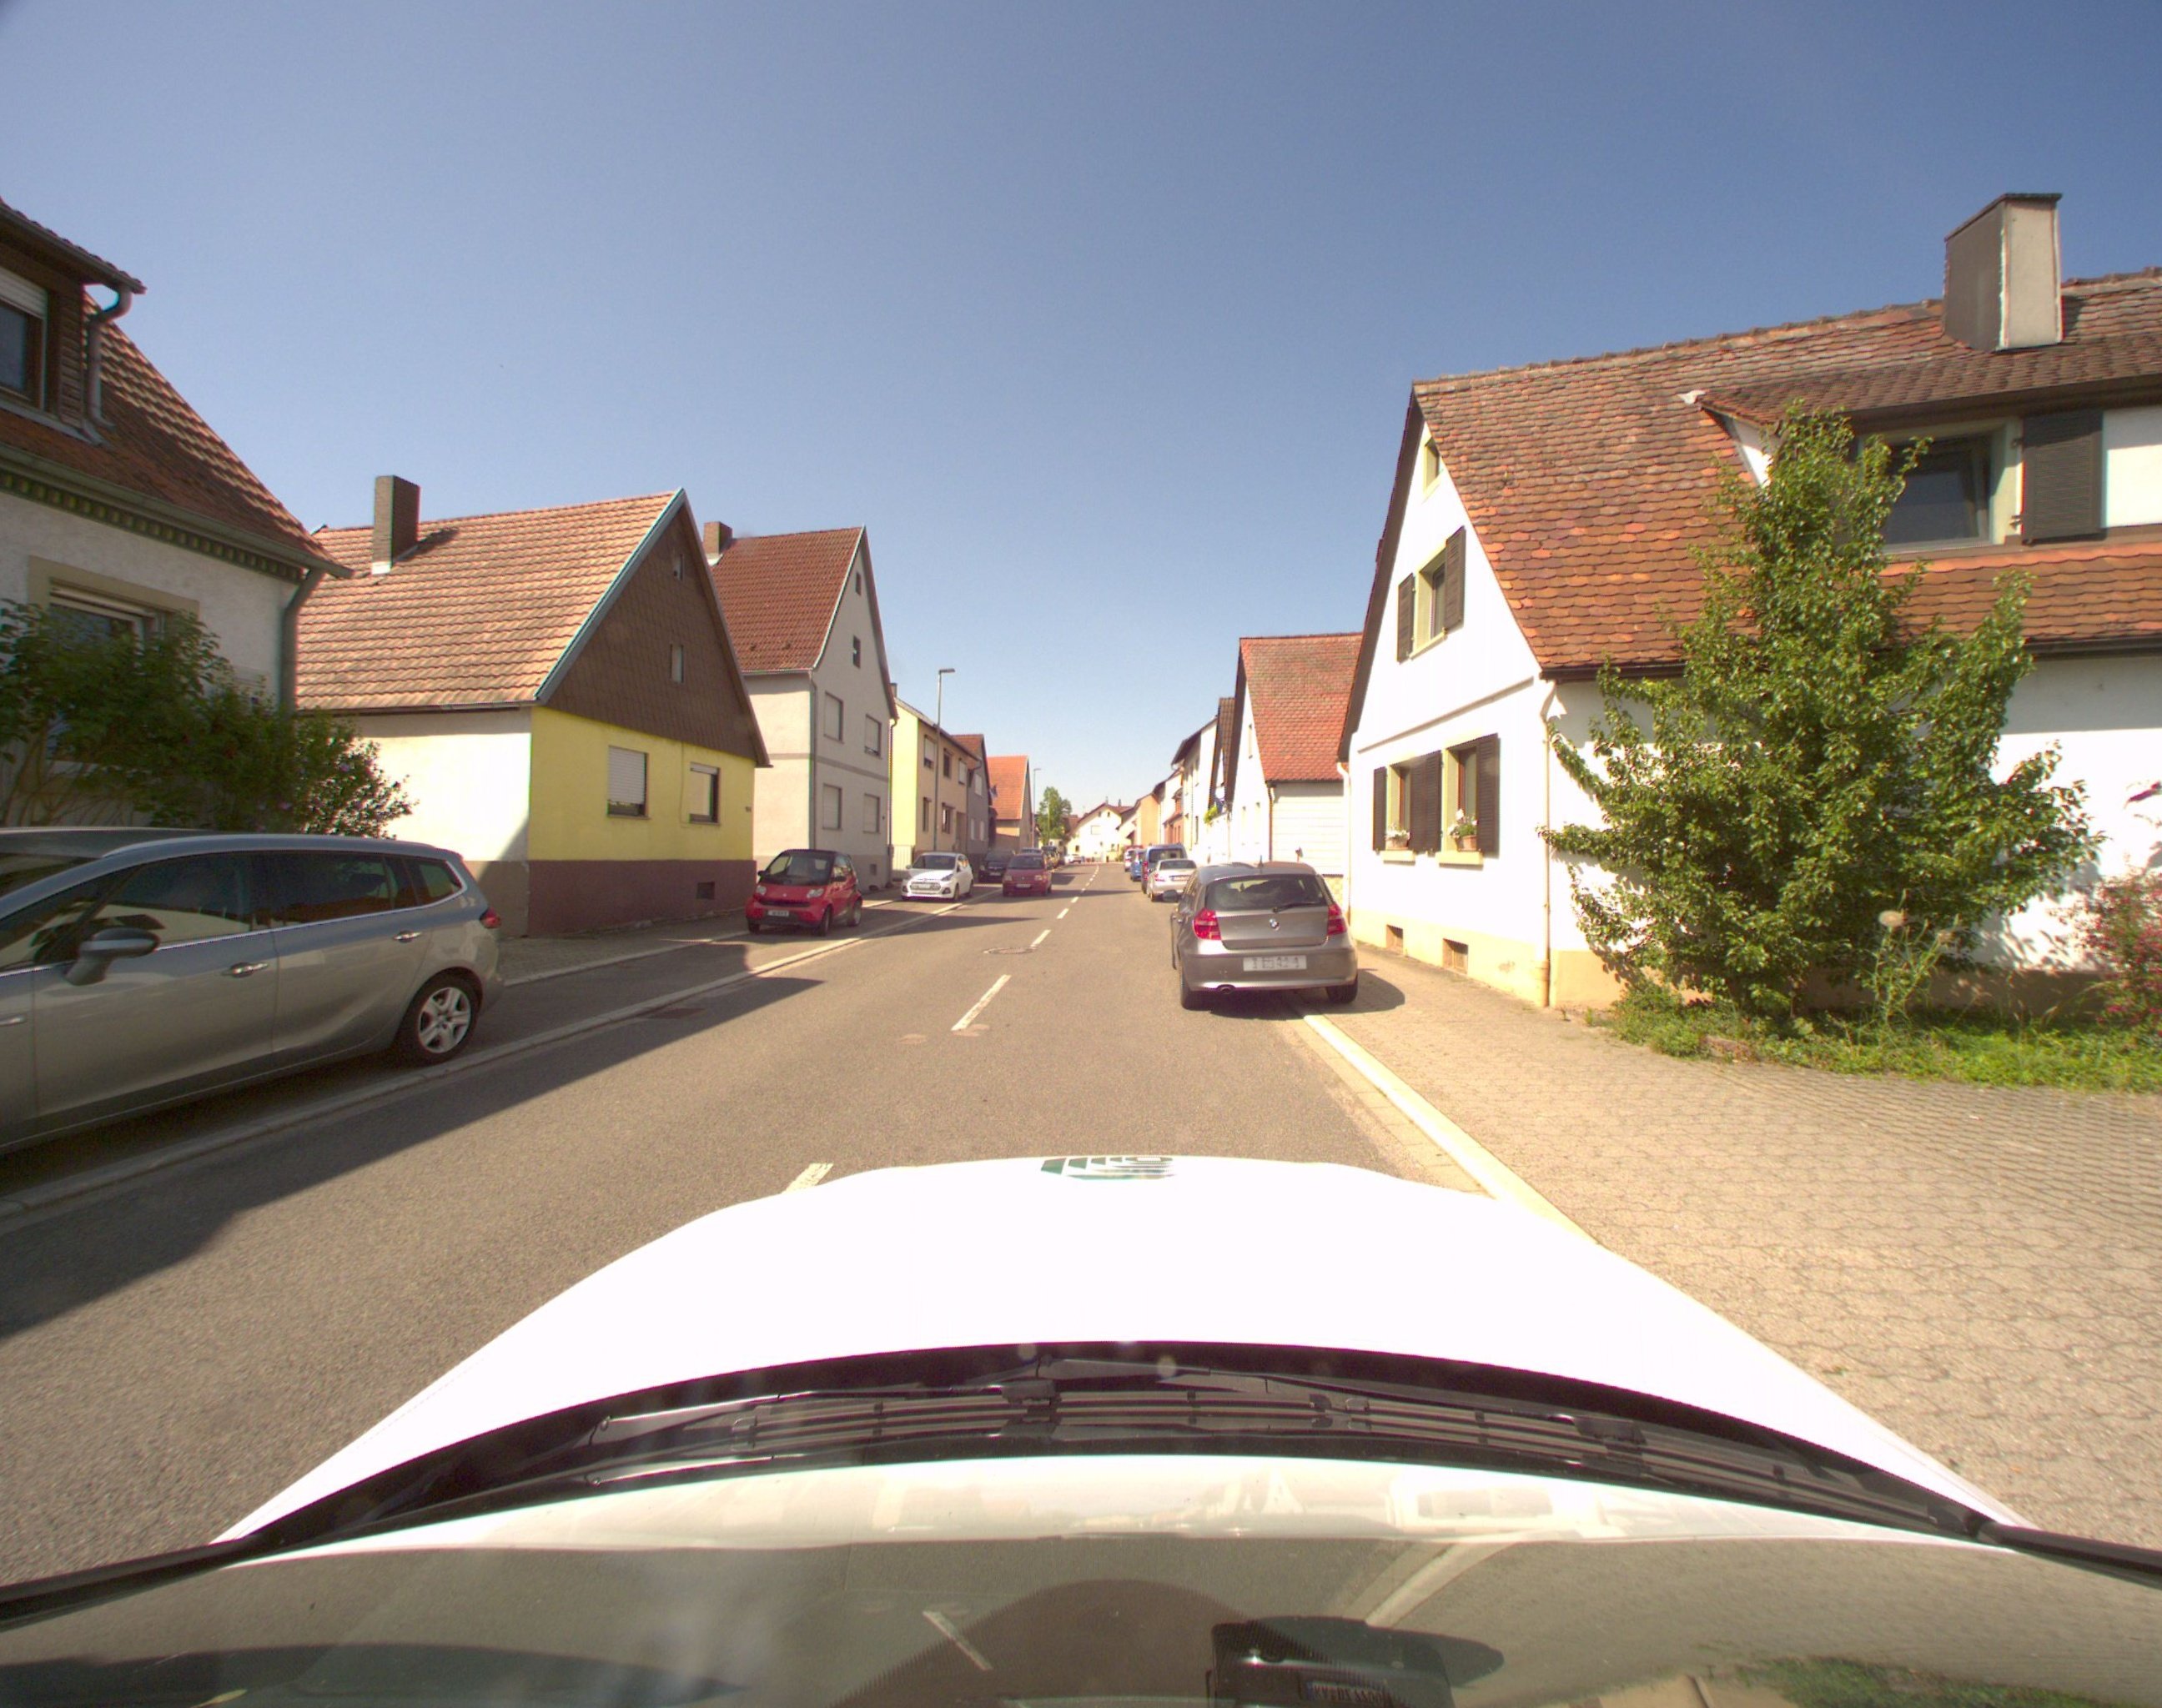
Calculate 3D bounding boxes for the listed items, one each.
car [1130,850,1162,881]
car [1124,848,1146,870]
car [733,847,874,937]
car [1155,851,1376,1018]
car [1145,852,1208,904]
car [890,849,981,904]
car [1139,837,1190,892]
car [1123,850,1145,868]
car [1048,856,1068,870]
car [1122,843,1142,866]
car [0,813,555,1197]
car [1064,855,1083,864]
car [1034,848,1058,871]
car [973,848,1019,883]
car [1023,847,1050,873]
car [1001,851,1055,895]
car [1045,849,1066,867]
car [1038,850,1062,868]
[{"bbox_3d":[3.305,0.582,41.786,1.415,1.515,3.305,1,0,2],"label":"car"},{"bbox_3d":[3.918,0.387,59.367,1.415,1.515,3.305,1,0,2],"label":"car"},{"bbox_3d":[-5.289,0.678,15.894,1.546,1.544,2.990,1,0,3],"label":"car"},{"bbox_3d":[1.811,0.720,9.174,1.698,1.433,3.891,-2,0,2],"label":"car"},{"bbox_3d":[2.964,0.722,25.867,1.698,1.496,3.454,1,0,2],"label":"car"},{"bbox_3d":[-4.510,0.668,25.922,1.798,1.548,4.408,1,0,3],"label":"car"},{"bbox_3d":[3.093,0.384,30.739,1.643,1.910,3.627,1,0,2],"label":"car"},{"bbox_3d":[4.353,0.413,67.175,1.759,1.433,3.452,0,-1,3],"label":"car"},{"bbox_3d":[-2.428,0.952,85.696,1.746,1.442,4.003,0,-1,3],"label":"car"},{"bbox_3d":[4.538,0.044,72.555,1.759,2.004,3.452,0,-1,3],"label":"car"},{"bbox_3d":[-5.455,0.627,4.412,1.864,1.636,4.669,1,0,4],"label":"car"},{"bbox_3d":[-1.166,0.852,123.018,1.997,1.288,3.979,0,-1,-15],"label":"car"},{"bbox_3d":[-2.659,0.411,62.188,1.521,1.713,3.627,1,0,2],"label":"car"},{"bbox_3d":[-4.036,0.541,39.172,1.613,1.577,3.963,1,0,2],"label":"car"},{"bbox_3d":[-3.109,0.392,56.956,1.521,1.713,3.627,1,0,2],"label":"car"},{"bbox_3d":[-1.907,0.660,30.015,1.595,1.489,3.627,1,0,2],"label":"car"},{"bbox_3d":[-2.354,0.384,76.348,1.747,1.624,4.002,0,-1,2],"label":"car"},{"bbox_3d":[-2.615,0.409,69.011,1.748,1.442,4.001,0,-1,1],"label":"car"}]
